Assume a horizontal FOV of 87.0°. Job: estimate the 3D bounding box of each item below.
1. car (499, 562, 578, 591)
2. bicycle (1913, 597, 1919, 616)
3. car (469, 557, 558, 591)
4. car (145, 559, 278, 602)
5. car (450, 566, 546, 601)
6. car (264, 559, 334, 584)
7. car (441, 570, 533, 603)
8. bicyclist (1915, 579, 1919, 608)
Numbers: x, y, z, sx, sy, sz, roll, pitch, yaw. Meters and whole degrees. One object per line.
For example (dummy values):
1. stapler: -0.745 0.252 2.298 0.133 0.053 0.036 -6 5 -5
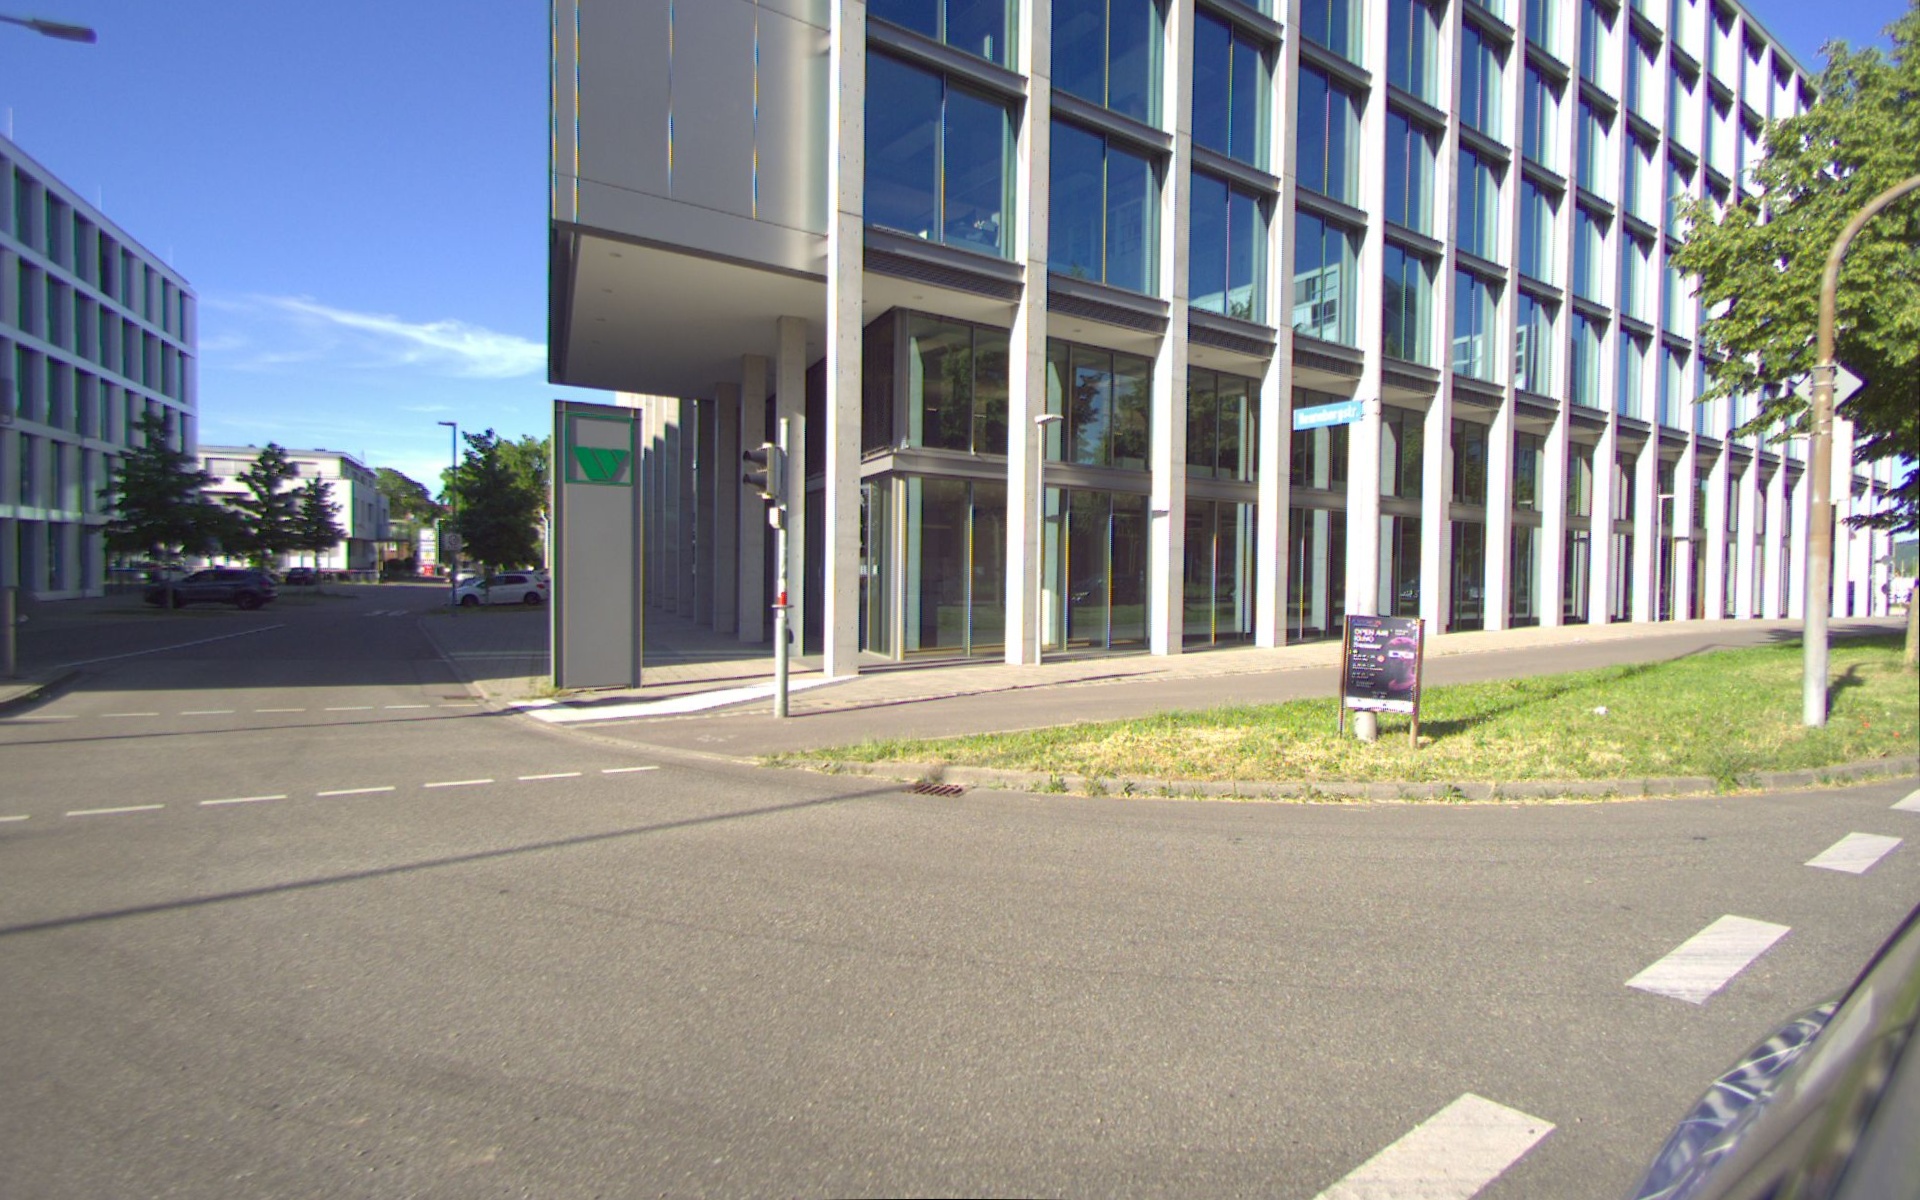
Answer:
1. car: -25.477 -1.420 61.279 4.365 1.749 1.797 0 1 -22
2. bicycle: 43.689 0.281 45.898 1.295 0.828 0.415 -1 1 -35
3. car: -24.238 -1.404 55.081 4.365 1.749 1.797 0 1 -22
4. car: -30.868 -0.807 41.882 4.206 1.734 1.663 0 2 -26
5. car: -20.908 -0.734 45.923 3.917 1.523 1.663 0 2 -23
6. car: -49.105 -2.117 75.244 4.043 1.816 1.873 0 1 -22
7. car: -22.510 -0.666 48.321 3.917 1.523 1.663 0 2 -23
8. bicyclist: 43.679 -0.283 45.908 0.410 1.305 0.448 -1 1 -35
